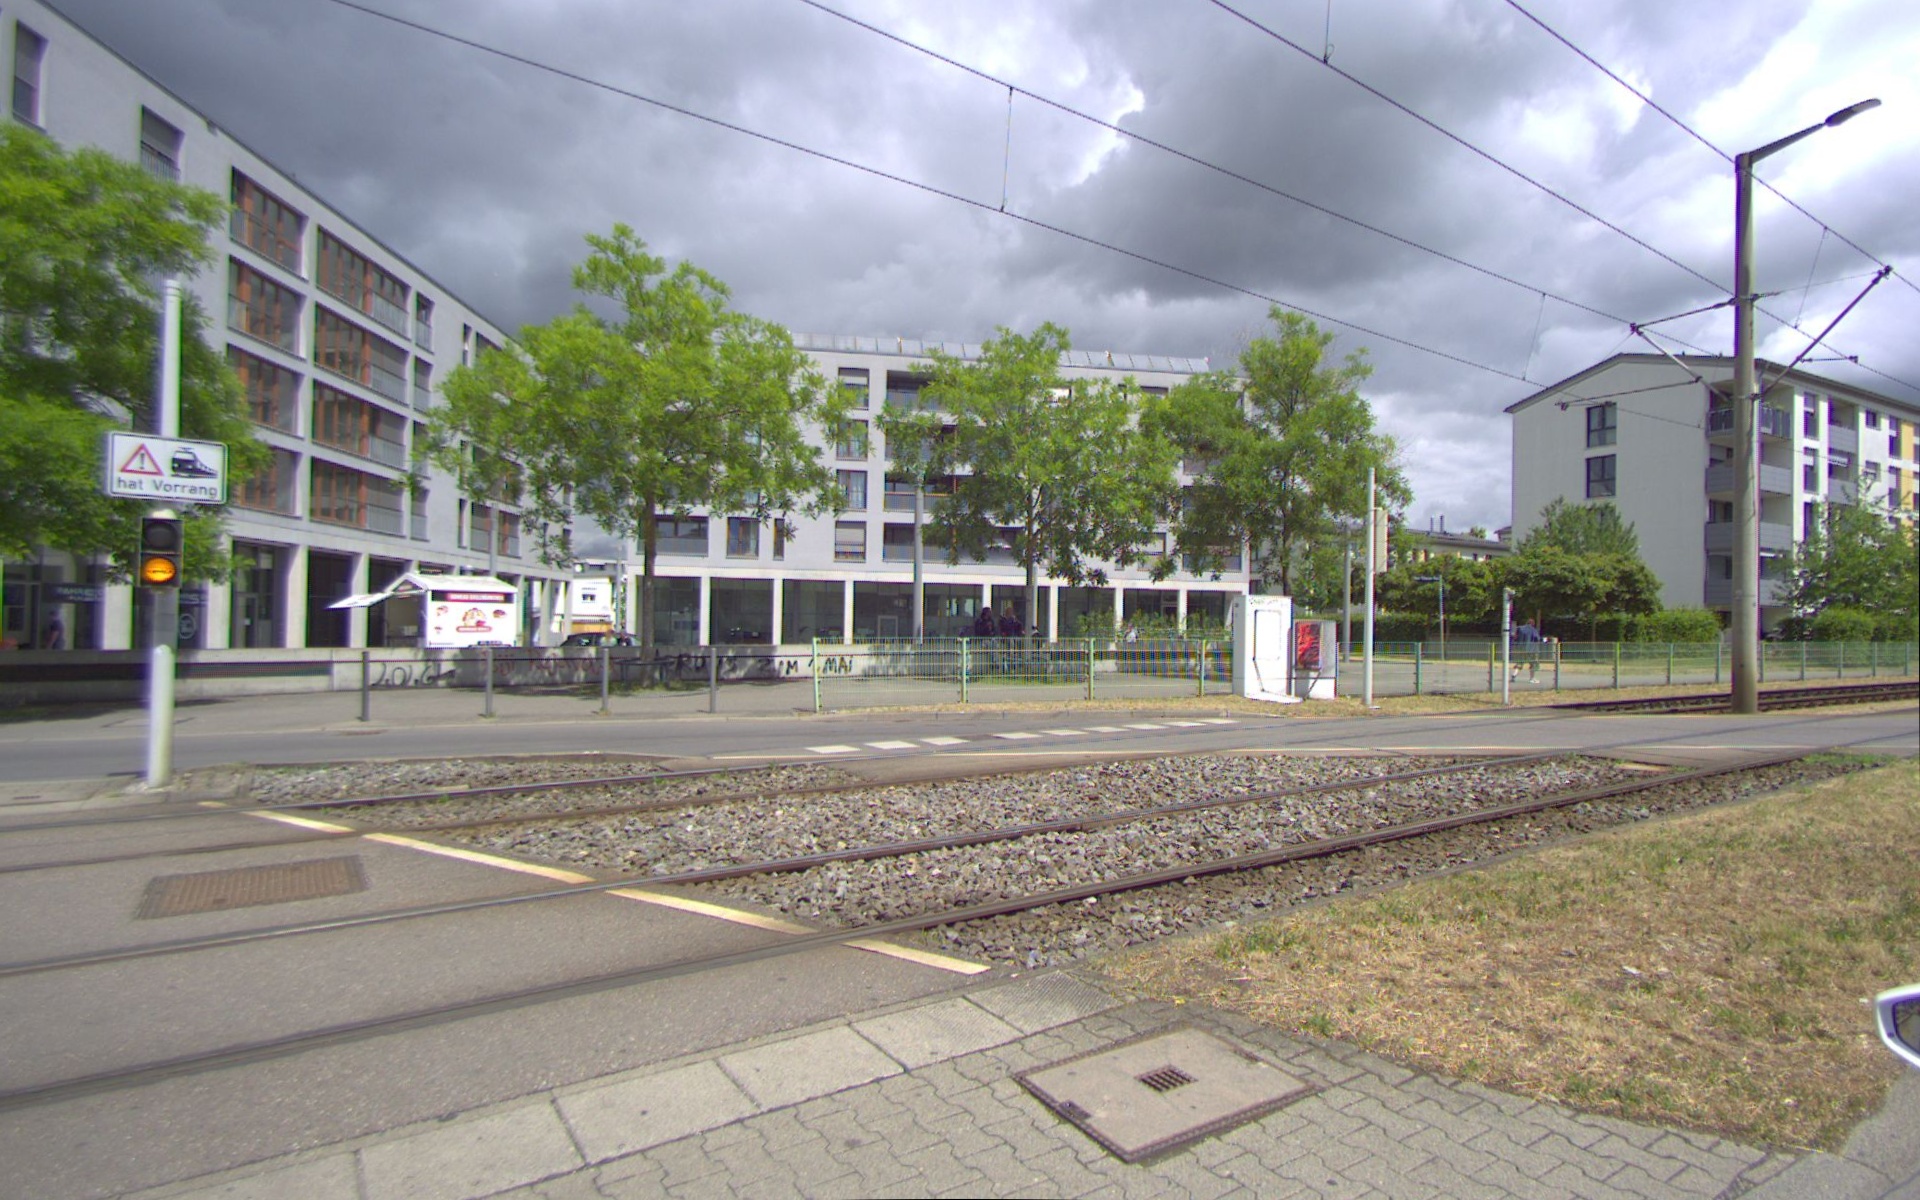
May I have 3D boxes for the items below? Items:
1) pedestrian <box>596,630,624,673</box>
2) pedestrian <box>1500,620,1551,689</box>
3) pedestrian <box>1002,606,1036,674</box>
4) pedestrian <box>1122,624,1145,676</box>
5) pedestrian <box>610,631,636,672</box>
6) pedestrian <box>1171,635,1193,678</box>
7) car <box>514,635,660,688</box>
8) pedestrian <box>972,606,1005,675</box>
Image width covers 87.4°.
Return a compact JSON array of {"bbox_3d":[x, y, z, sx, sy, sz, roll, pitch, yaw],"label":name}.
[{"bbox_3d":[-9.187,1.349,26.384,0.567,1.110,0.500,0,-1,-5],"label":"pedestrian"},{"bbox_3d":[14.274,1.358,25.353,0.858,1.683,0.747,0,-1,-27],"label":"pedestrian"},{"bbox_3d":[1.395,0.939,23.788,0.550,1.594,0.621,0,-1,-25],"label":"pedestrian"},{"bbox_3d":[5.306,1.516,30.750,0.519,1.568,0.545,-1,-1,-9],"label":"pedestrian"},{"bbox_3d":[-9.117,1.387,27.187,0.567,1.110,0.500,0,-1,-5],"label":"pedestrian"},{"bbox_3d":[6.601,1.675,29.845,0.449,1.263,0.545,-1,-1,-9],"label":"pedestrian"},{"bbox_3d":[-10.940,1.796,29.470,3.742,1.428,1.998,-2,-2,27],"label":"car"},{"bbox_3d":[0.659,0.938,23.401,0.549,1.594,0.622,-1,-1,-19],"label":"pedestrian"}]
